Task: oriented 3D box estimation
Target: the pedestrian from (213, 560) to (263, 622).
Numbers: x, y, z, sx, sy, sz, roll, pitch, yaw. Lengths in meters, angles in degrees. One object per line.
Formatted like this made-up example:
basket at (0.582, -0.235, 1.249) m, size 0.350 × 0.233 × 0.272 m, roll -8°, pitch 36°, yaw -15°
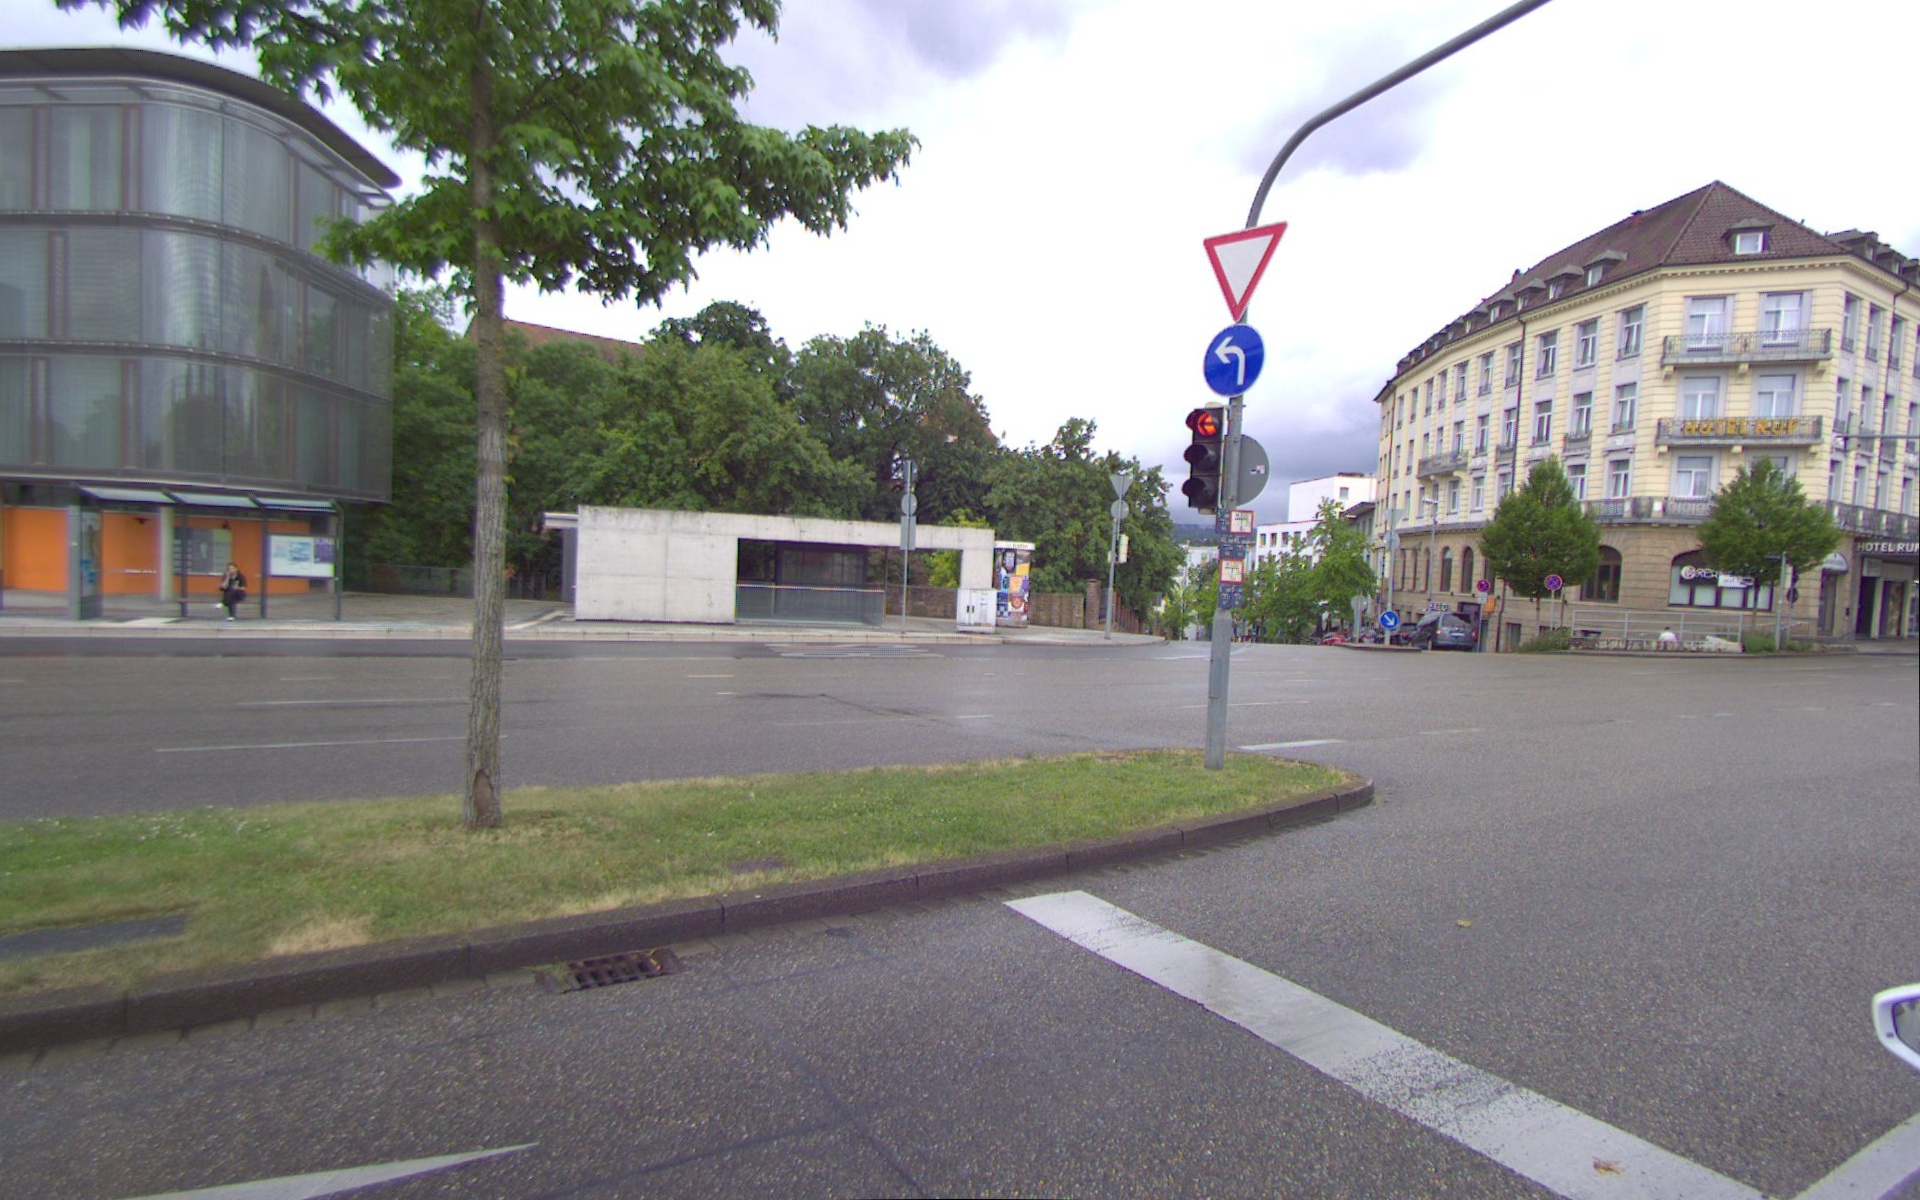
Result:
pedestrian at (-16.084, -0.192, 22.383) m, size 0.780 × 1.341 × 0.798 m, roll 1°, pitch 1°, yaw -28°

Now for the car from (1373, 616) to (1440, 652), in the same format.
car at (22.905, 1.707, 51.701) m, size 1.959 × 1.662 × 4.002 m, roll 2°, pitch 0°, yaw 6°

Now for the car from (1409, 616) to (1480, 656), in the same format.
car at (21.733, 1.567, 45.194) m, size 1.764 × 1.589 × 4.002 m, roll 2°, pitch 1°, yaw 9°

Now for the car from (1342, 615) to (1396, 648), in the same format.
car at (23.160, 1.761, 57.000) m, size 1.757 × 1.662 × 3.916 m, roll 2°, pitch 1°, yaw 6°

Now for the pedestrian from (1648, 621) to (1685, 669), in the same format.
pedestrian at (28.961, 1.836, 41.180) m, size 1.010 × 1.903 × 0.859 m, roll 1°, pitch 1°, yaw -30°

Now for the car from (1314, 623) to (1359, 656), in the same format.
car at (23.583, 2.465, 63.054) m, size 1.741 × 1.836 × 3.624 m, roll 2°, pitch 1°, yaw 7°
